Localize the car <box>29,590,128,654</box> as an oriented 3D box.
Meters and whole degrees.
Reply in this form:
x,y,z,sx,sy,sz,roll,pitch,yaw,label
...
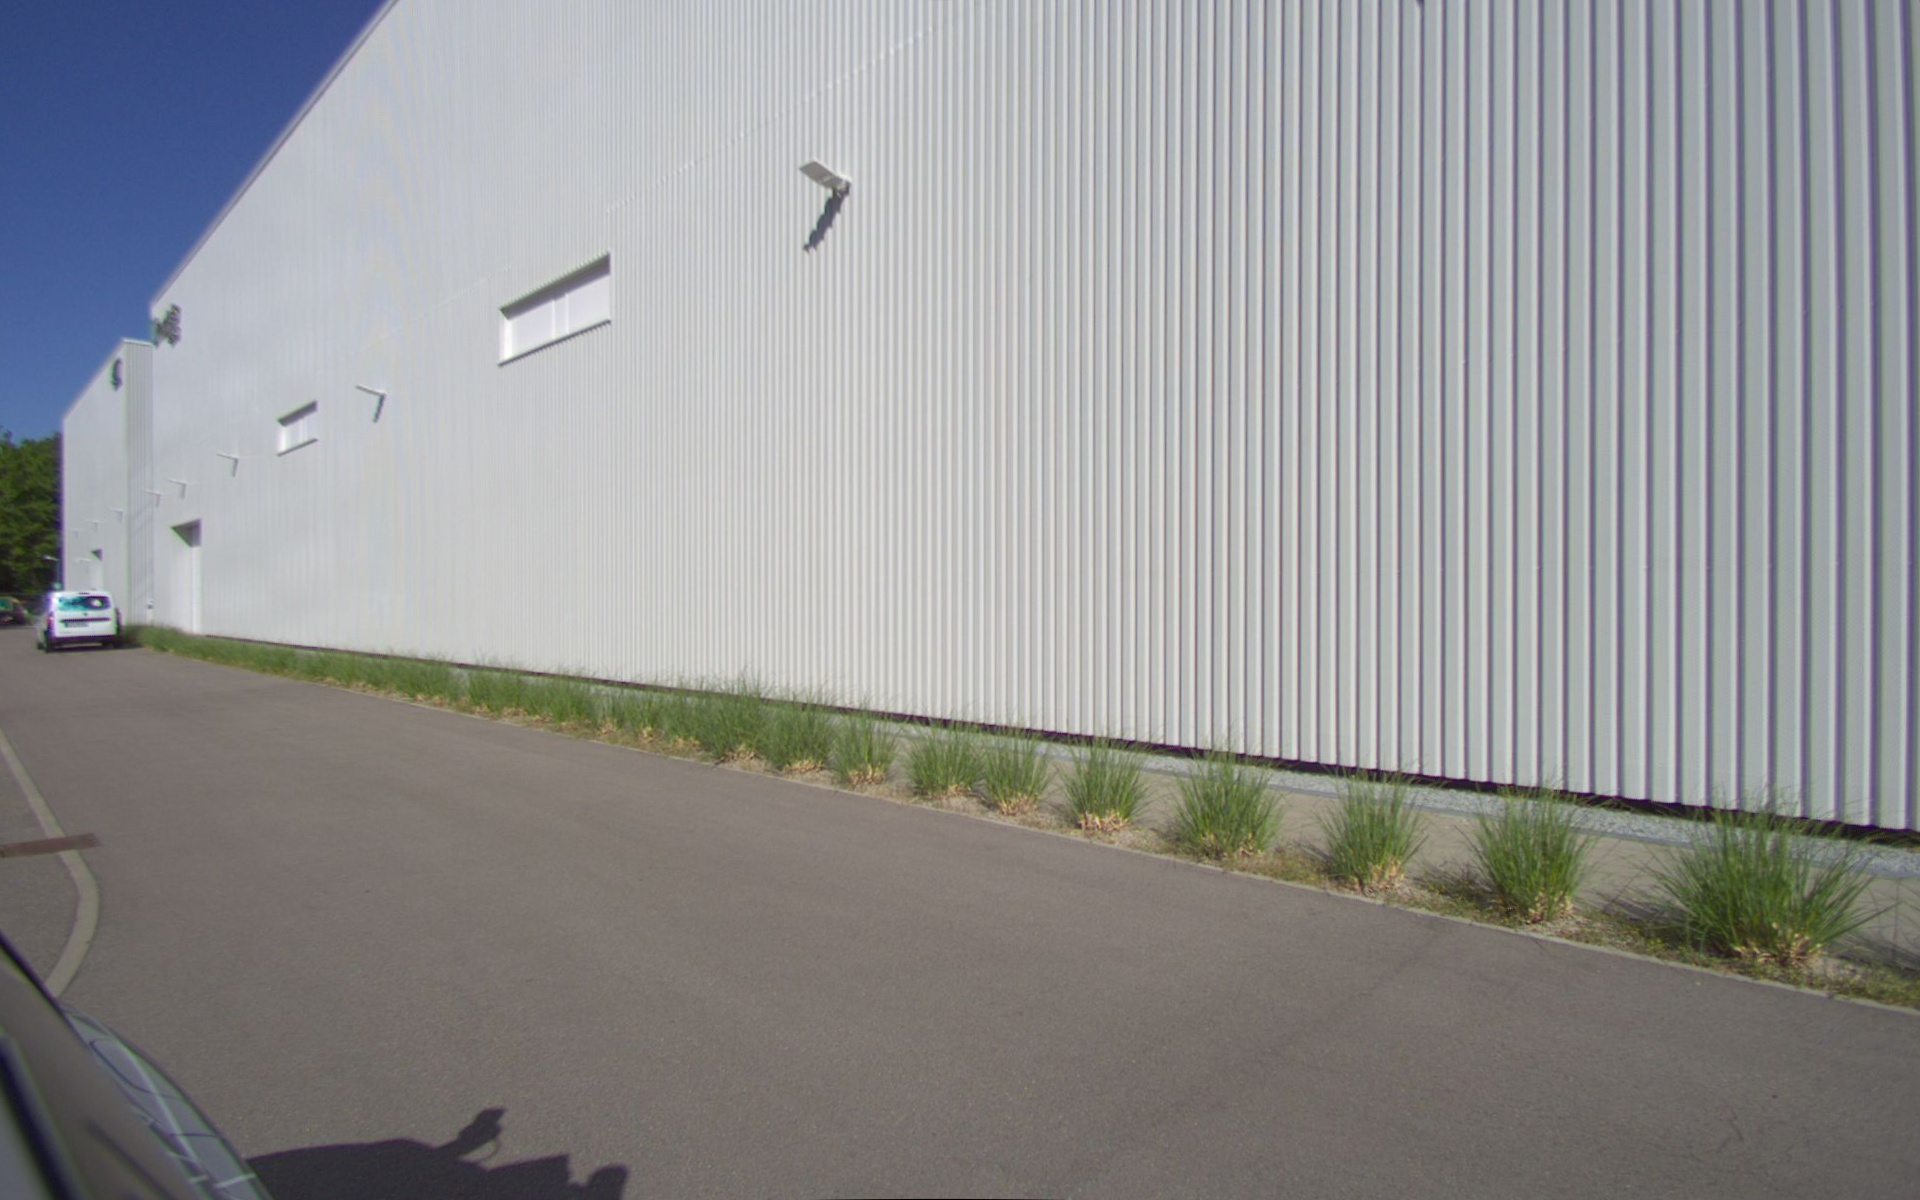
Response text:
x,y,z,sx,sy,sz,roll,pitch,yaw,label
-27.267,0.632,31.249,4.599,1.803,1.907,0,0,44,car

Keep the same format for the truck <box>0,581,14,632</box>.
x,y,z,sx,sy,sz,roll,pitch,yaw,label
-55.849,0.451,55.992,9.661,2.737,2.562,-1,1,32,truck
